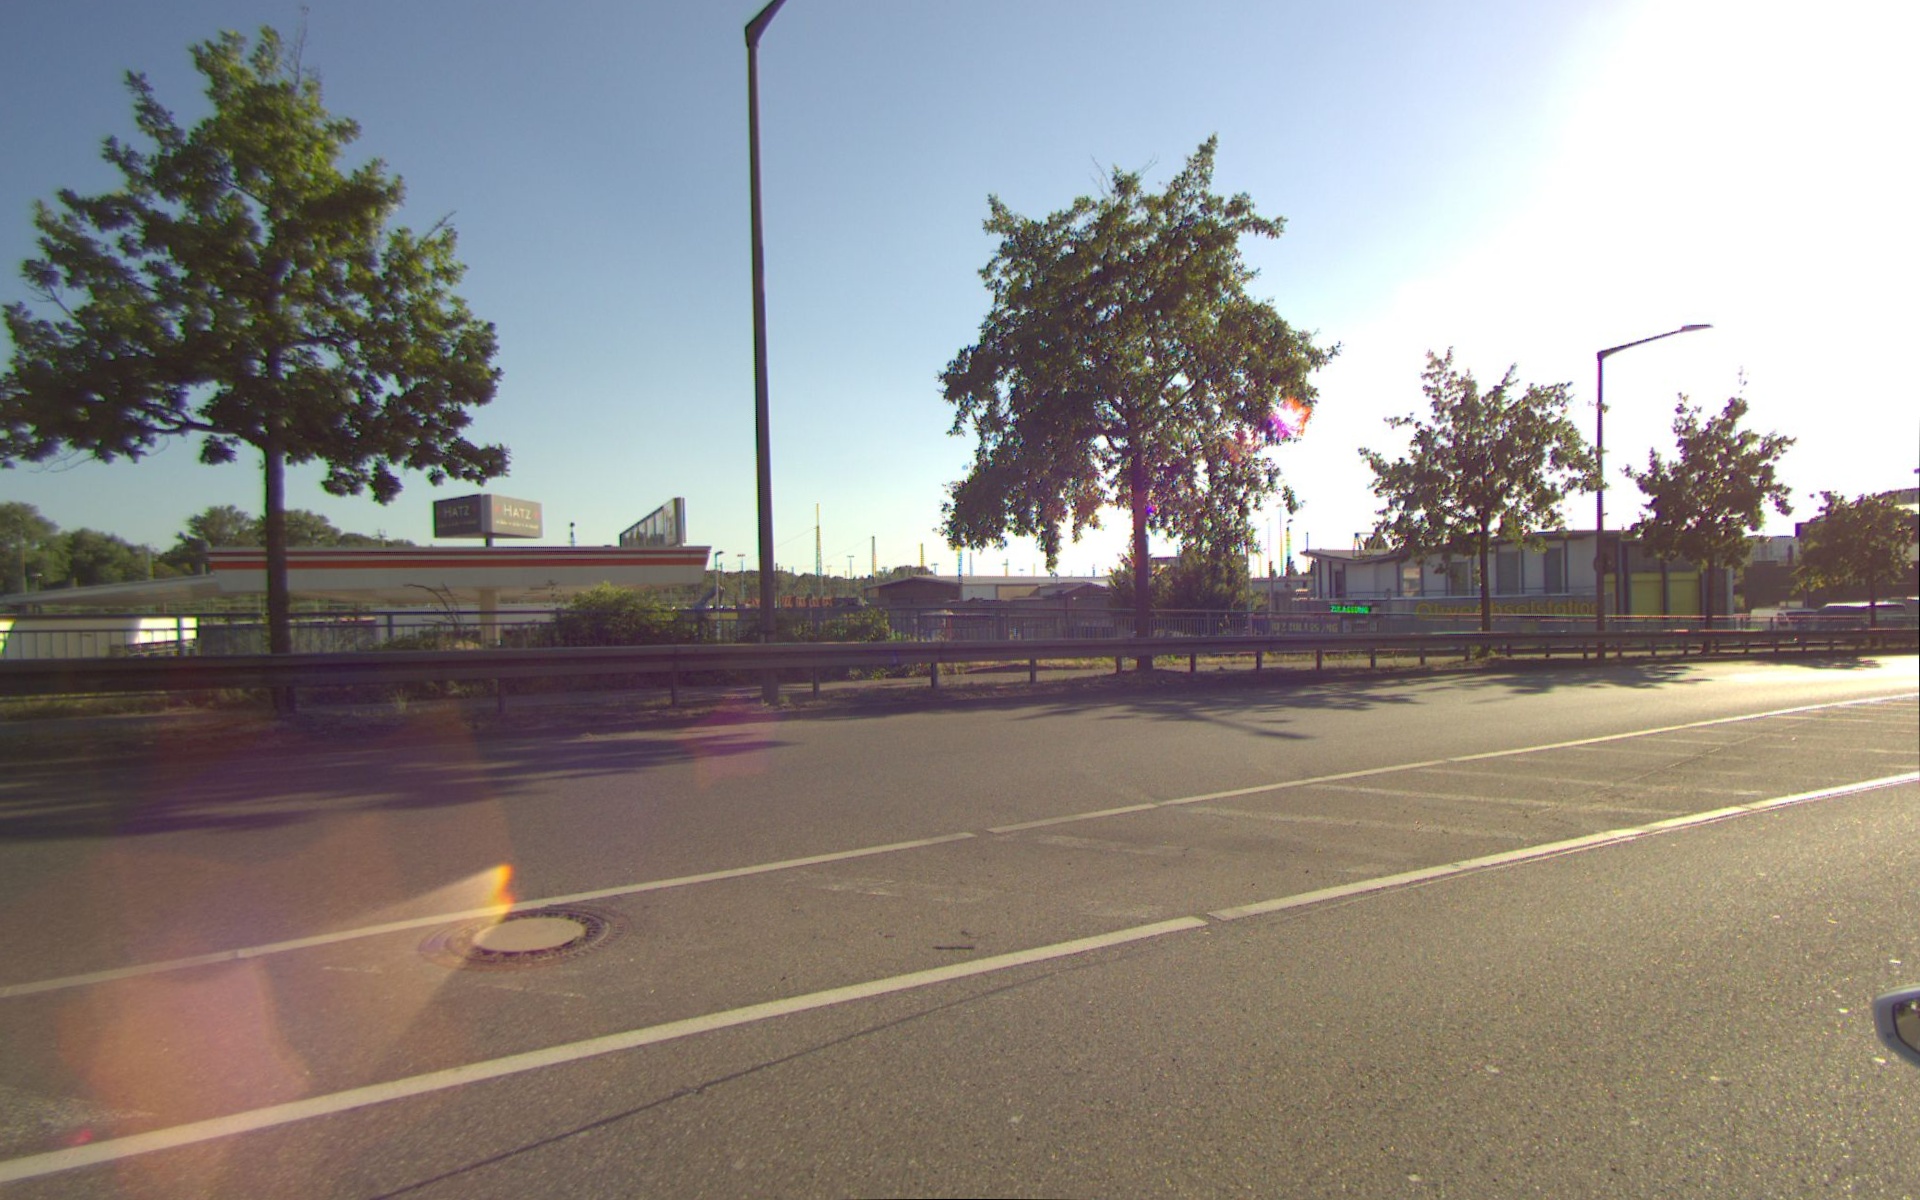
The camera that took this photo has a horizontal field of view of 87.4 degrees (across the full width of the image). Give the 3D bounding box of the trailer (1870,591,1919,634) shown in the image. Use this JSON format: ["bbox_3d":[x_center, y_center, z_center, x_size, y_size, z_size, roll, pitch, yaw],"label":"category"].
[{"bbox_3d":[47.150,0.591,48.275,6.507,1.996,2.415,0,1,-21],"label":"trailer"}]

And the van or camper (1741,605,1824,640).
[{"bbox_3d":[48.653,1.296,59.538,1.959,1.951,4.232,1,0,11],"label":"van or camper"}]

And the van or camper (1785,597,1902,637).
[{"bbox_3d":[39.578,0.738,44.977,4.888,1.708,1.989,0,1,-22],"label":"van or camper"}]
